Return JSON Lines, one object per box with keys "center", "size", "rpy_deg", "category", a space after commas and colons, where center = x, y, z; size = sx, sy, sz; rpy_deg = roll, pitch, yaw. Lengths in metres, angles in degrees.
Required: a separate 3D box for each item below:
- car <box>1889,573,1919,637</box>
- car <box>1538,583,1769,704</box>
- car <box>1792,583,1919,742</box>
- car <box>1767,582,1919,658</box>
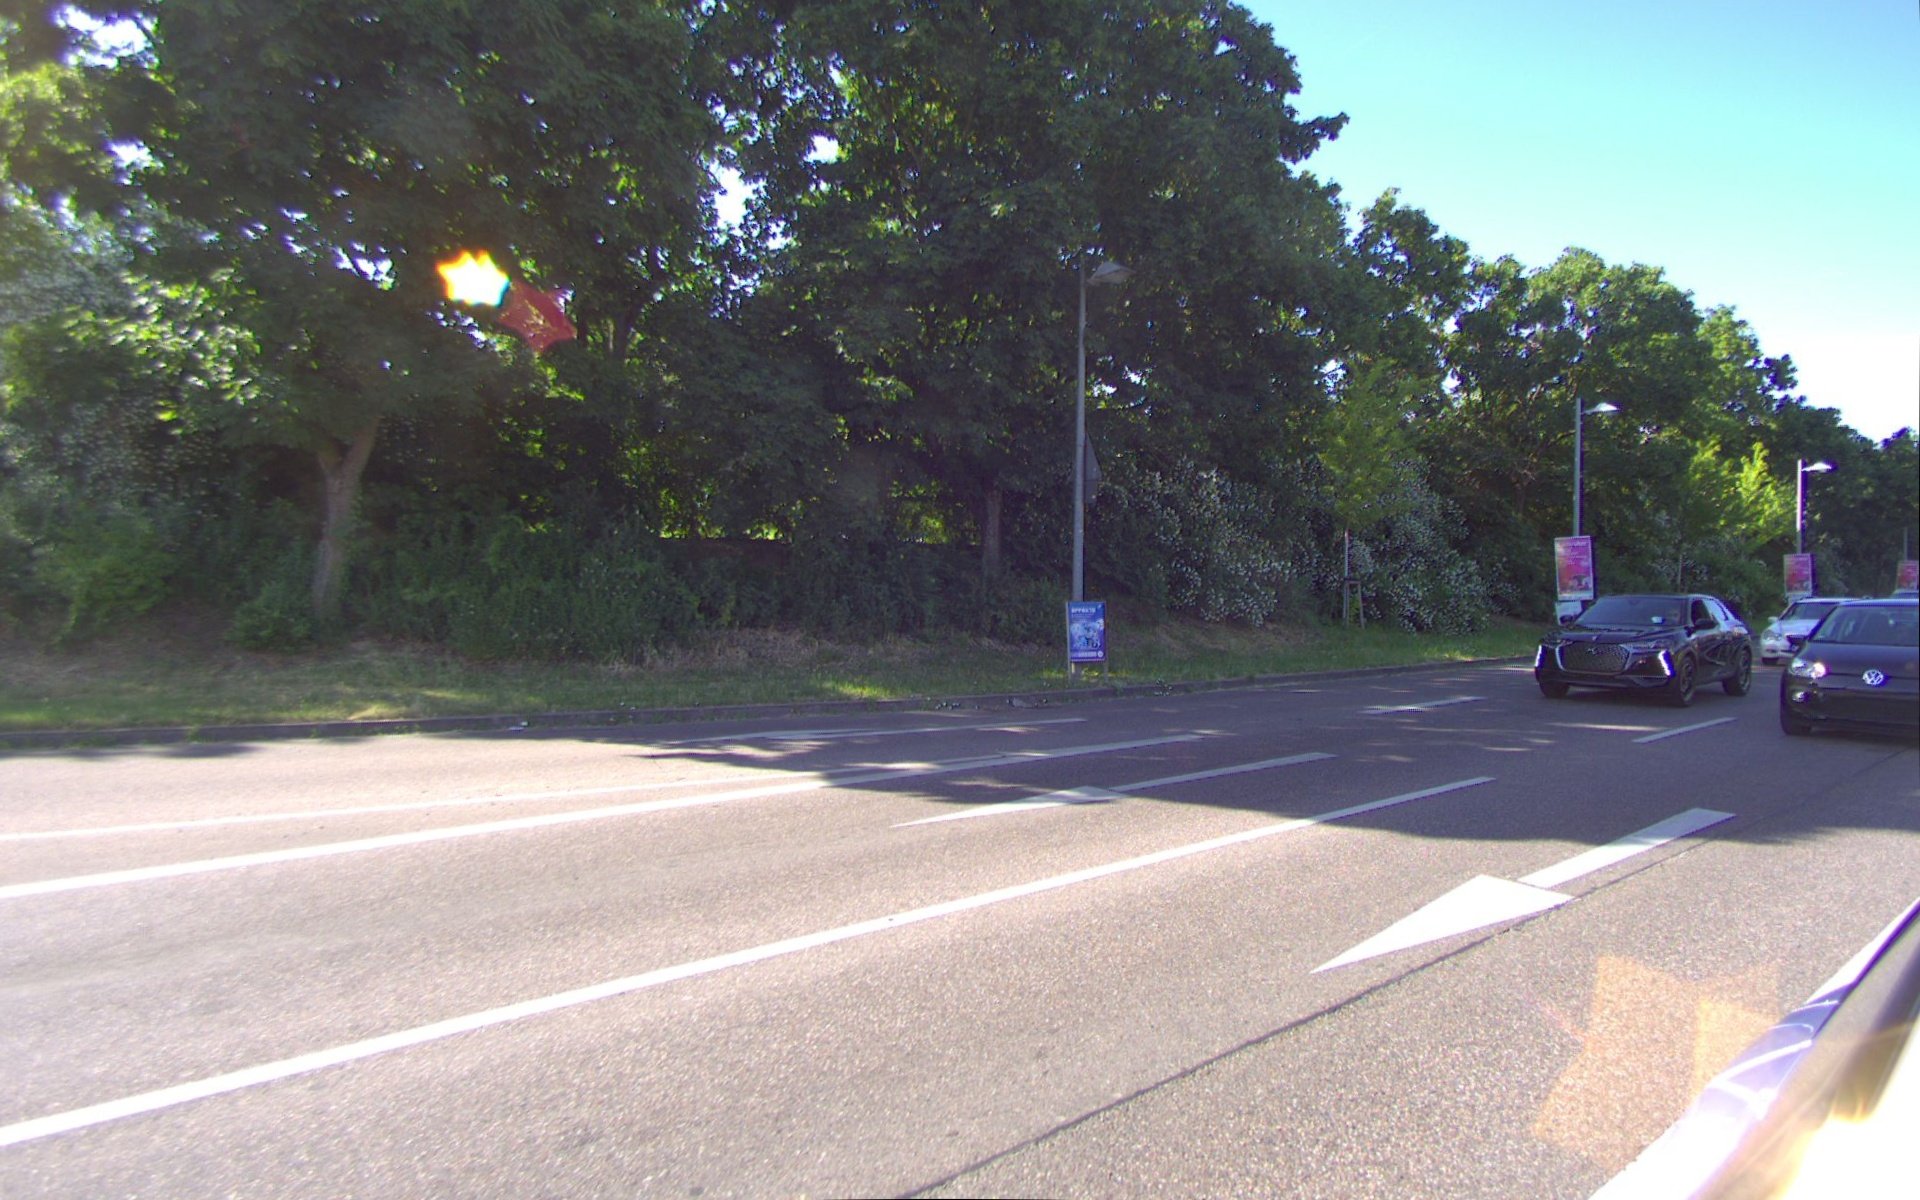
{"center": [27.017, 0.121, 27.737], "size": [3.928, 1.682, 1.749], "rpy_deg": [-1, 2, -39], "category": "car"}
{"center": [10.084, 0.517, 14.630], "size": [3.892, 1.512, 1.713], "rpy_deg": [-1, 1, -39], "category": "car"}
{"center": [10.351, 0.579, 10.838], "size": [3.391, 1.512, 1.621], "rpy_deg": [0, 1, -40], "category": "car"}
{"center": [19.022, 0.359, 21.703], "size": [4.307, 1.454, 1.749], "rpy_deg": [-1, 1, -38], "category": "car"}
